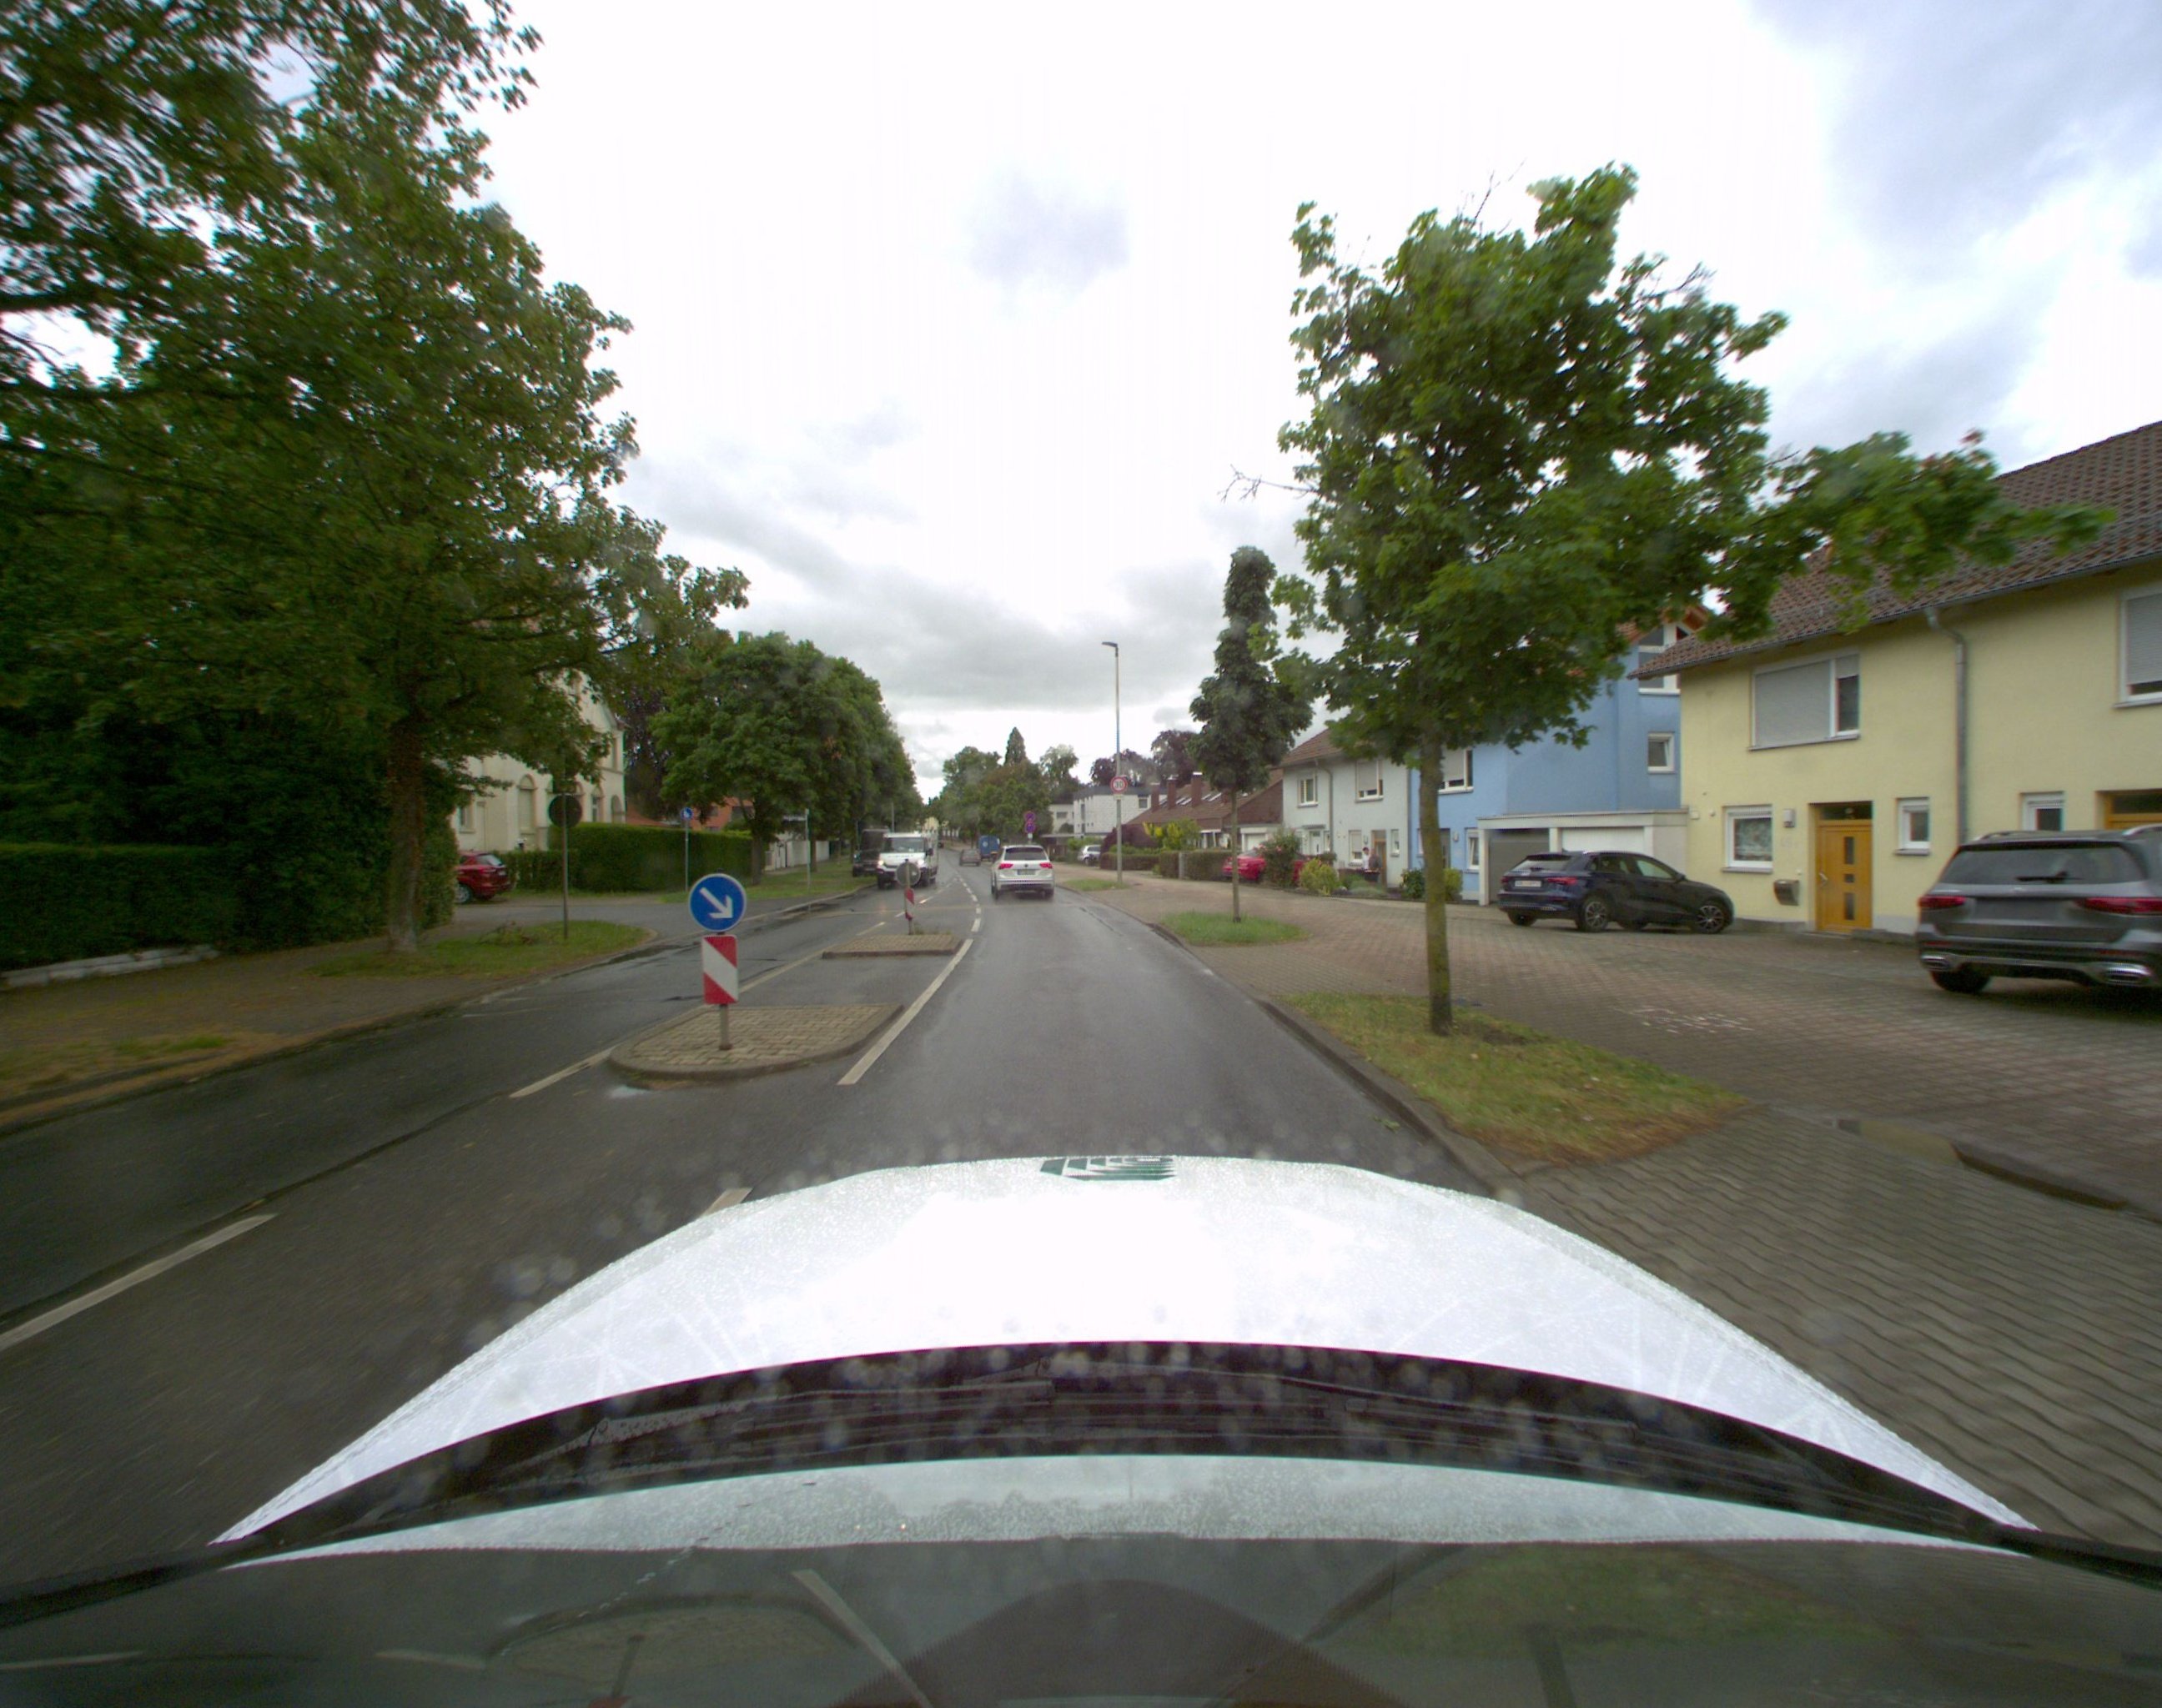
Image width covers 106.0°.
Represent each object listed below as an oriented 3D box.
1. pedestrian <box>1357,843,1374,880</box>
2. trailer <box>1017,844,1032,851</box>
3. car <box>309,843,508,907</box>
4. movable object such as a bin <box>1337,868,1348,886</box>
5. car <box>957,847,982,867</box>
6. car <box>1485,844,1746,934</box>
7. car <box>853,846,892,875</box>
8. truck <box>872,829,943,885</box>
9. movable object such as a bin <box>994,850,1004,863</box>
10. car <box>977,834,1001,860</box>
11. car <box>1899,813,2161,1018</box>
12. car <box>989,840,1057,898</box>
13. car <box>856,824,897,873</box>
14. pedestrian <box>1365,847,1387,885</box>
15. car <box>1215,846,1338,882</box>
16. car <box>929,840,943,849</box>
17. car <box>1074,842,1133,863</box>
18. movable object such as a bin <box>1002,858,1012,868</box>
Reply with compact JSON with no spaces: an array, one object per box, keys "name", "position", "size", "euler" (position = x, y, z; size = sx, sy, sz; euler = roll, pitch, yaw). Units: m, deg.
[{"name":"pedestrian","position":[10.442,0.279,29.916],"size":[0.492,1.351,0.566],"euler":[-1,0,12]},{"name":"trailer","position":[-7.624,-0.832,109.860],"size":[2.041,0.883,1.361],"euler":[0,1,-8]},{"name":"car","position":[-19.238,0.559,23.515],"size":[4.027,1.651,1.684],"euler":[0,3,-19]},{"name":"movable object such as a bin","position":[9.143,0.796,28.494],"size":[0.256,0.626,0.324],"euler":[-1,1,-10]},{"name":"car","position":[-9.389,0.247,68.323],"size":[1.770,1.551,3.985],"euler":[-1,1,-11]},{"name":"car","position":[9.670,0.621,14.806],"size":[3.991,1.387,1.667],"euler":[3,0,-13]},{"name":"car","position":[-10.744,0.294,42.076],"size":[1.723,1.408,3.811],"euler":[0,0,-11]},{"name":"truck","position":[-7.395,0.087,35.317],"size":[2.213,2.203,6.452],"euler":[0,0,-5]},{"name":"movable object such as a bin","position":[-7.100,0.192,70.226],"size":[0.609,1.015,0.565],"euler":[-5,0,14]},{"name":"car","position":[-9.748,-0.795,86.217],"size":[1.994,2.586,5.612],"euler":[-3,2,-11]},{"name":"car","position":[10.524,0.533,8.078],"size":[4.191,1.671,1.711],"euler":[1,0,-18]},{"name":"car","position":[-1.949,0.435,26.346],"size":[1.864,1.650,3.989],"euler":[-2,0,-8]},{"name":"car","position":[-12.228,-0.361,49.002],"size":[1.994,2.728,5.917],"euler":[0,1,-10]},{"name":"pedestrian","position":[10.644,0.420,29.368],"size":[0.538,1.351,0.525],"euler":[-1,0,-24]},{"name":"car","position":[7.356,0.351,30.589],"size":[4.319,1.260,1.668],"euler":[0,1,-21]},{"name":"car","position":[-25.031,-1.634,140.462],"size":[1.649,1.427,3.971],"euler":[0,2,-22]},{"name":"car","position":[1.607,-0.125,59.320],"size":[3.991,1.442,1.839],"euler":[-1,0,-13]},{"name":"movable object such as a bin","position":[-6.340,0.772,69.714],"size":[0.654,0.800,0.603],"euler":[-4,0,14]}]
